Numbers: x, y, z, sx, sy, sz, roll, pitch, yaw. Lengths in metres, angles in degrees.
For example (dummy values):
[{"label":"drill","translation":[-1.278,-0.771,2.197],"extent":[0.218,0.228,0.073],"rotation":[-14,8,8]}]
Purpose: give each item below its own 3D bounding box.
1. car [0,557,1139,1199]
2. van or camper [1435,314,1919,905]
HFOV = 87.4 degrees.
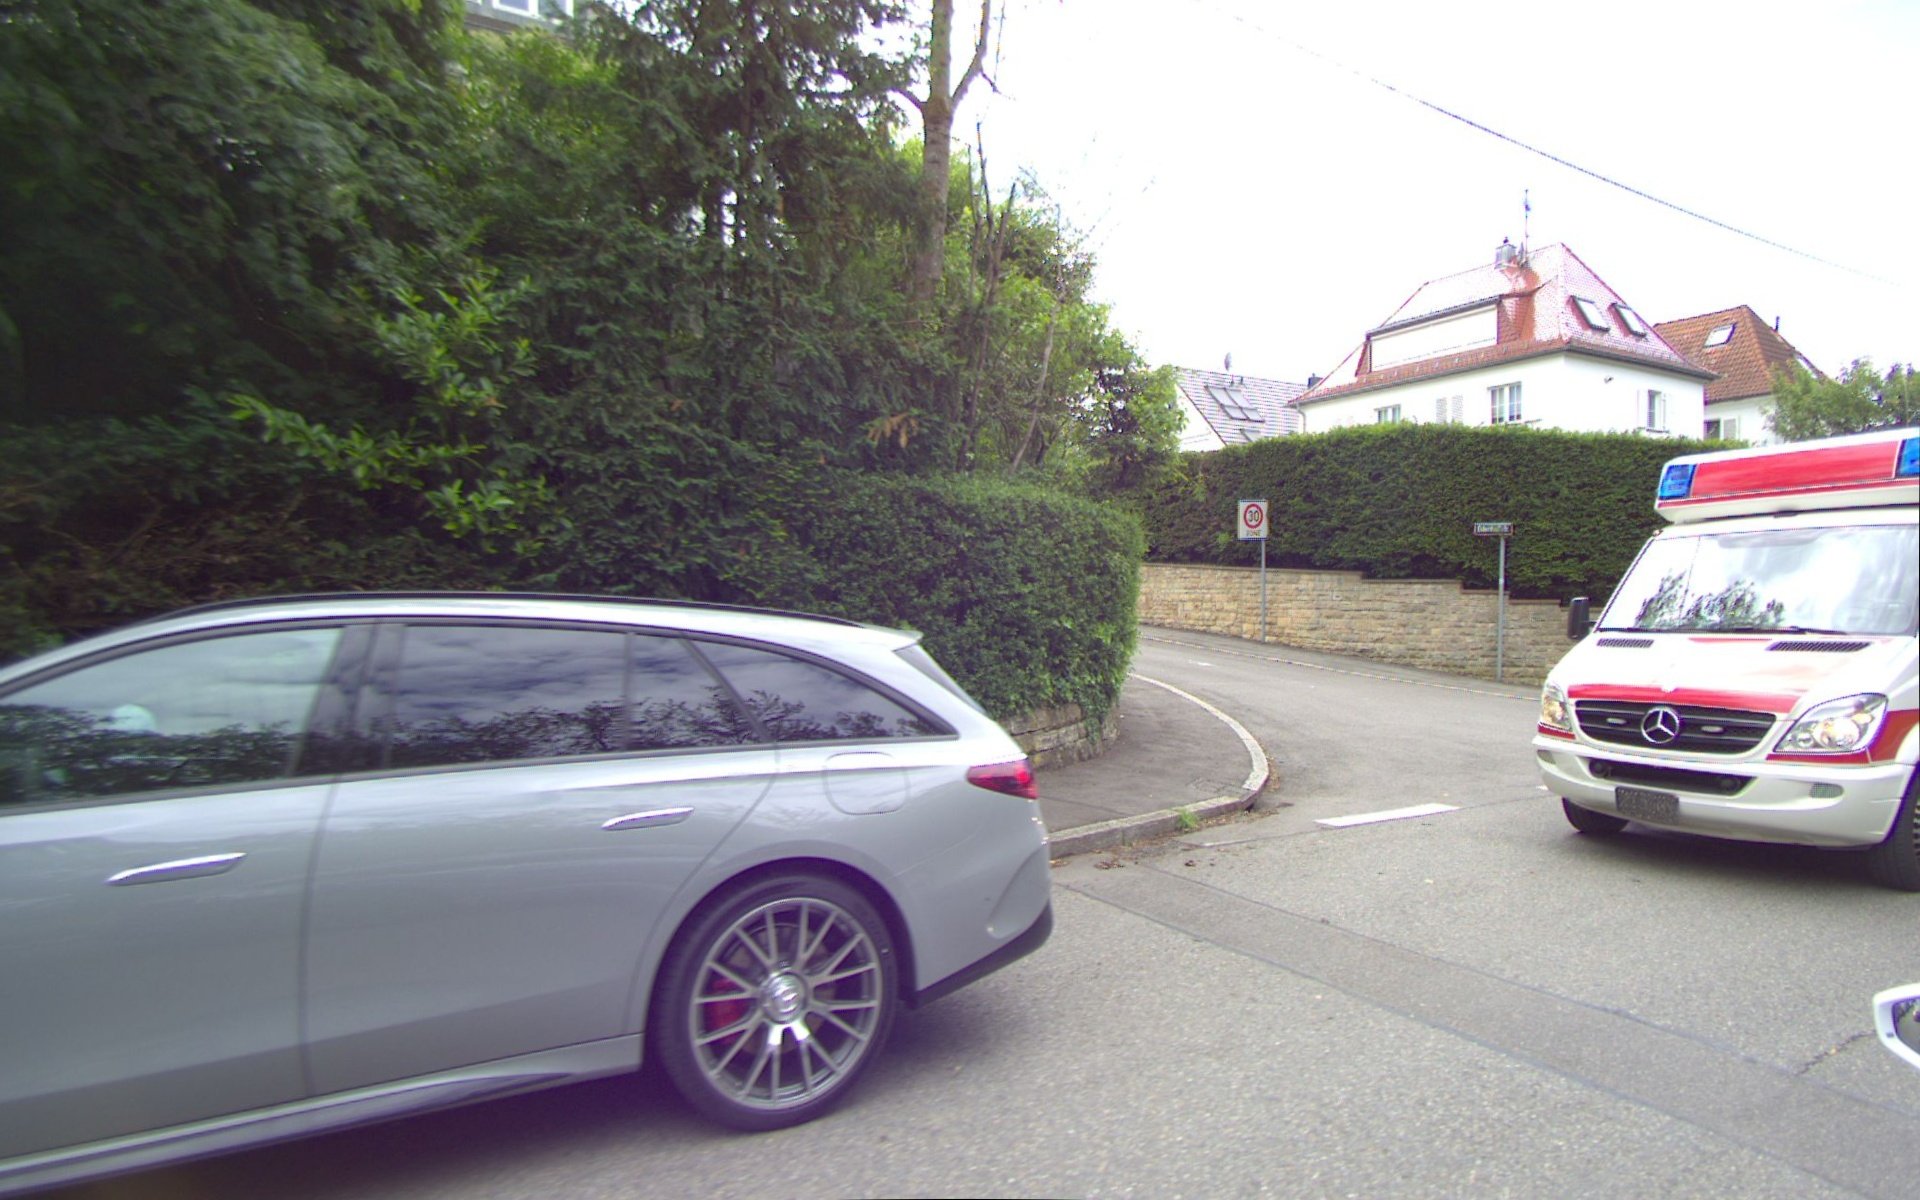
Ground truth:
[{"label":"car","translation":[-1.917,0.715,3.020],"extent":[4.803,1.524,1.791],"rotation":[2,-2,-29]},{"label":"van or camper","translation":[7.046,0.117,7.805],"extent":[7.081,2.933,2.445],"rotation":[1,-1,-30]}]
